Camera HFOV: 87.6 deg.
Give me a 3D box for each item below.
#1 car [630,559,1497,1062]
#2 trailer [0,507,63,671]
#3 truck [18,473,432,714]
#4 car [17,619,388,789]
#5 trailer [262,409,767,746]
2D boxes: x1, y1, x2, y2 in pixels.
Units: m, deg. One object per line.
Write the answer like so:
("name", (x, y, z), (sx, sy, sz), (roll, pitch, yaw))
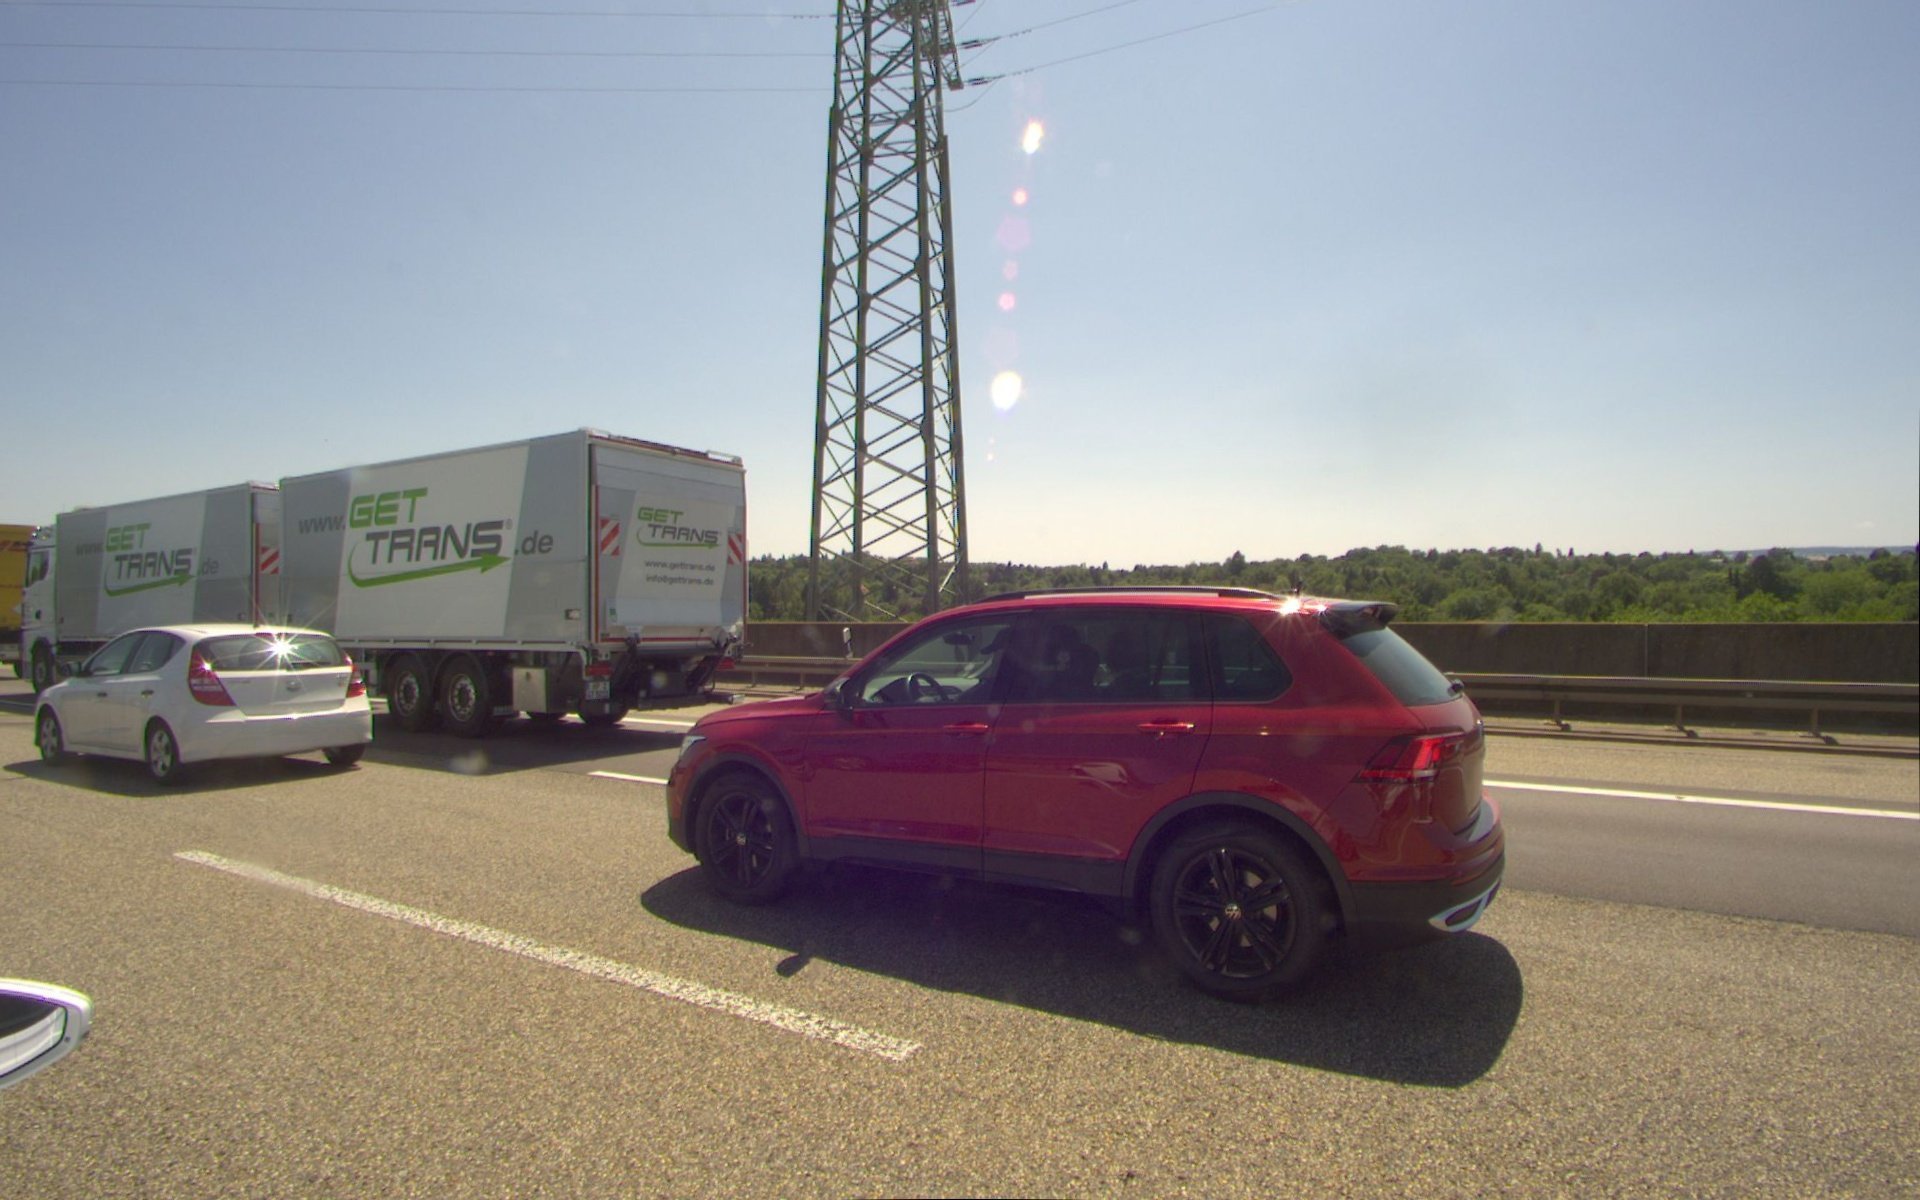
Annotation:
("car", (0.391, 0.740, 5.217), (4.163, 1.683, 1.772), (-1, -1, 32))
("trailer", (-28.988, -0.214, 28.471), (8.883, 4.293, 2.860), (-1, -1, 32))
("truck", (-14.578, -0.034, 19.370), (10.851, 3.696, 2.651), (-1, 0, 32))
("car", (-8.119, 0.949, 10.641), (4.231, 1.474, 1.785), (-1, -1, 32))
("trailer", (-6.635, -0.198, 14.387), (7.899, 3.749, 2.693), (0, 0, 32))
